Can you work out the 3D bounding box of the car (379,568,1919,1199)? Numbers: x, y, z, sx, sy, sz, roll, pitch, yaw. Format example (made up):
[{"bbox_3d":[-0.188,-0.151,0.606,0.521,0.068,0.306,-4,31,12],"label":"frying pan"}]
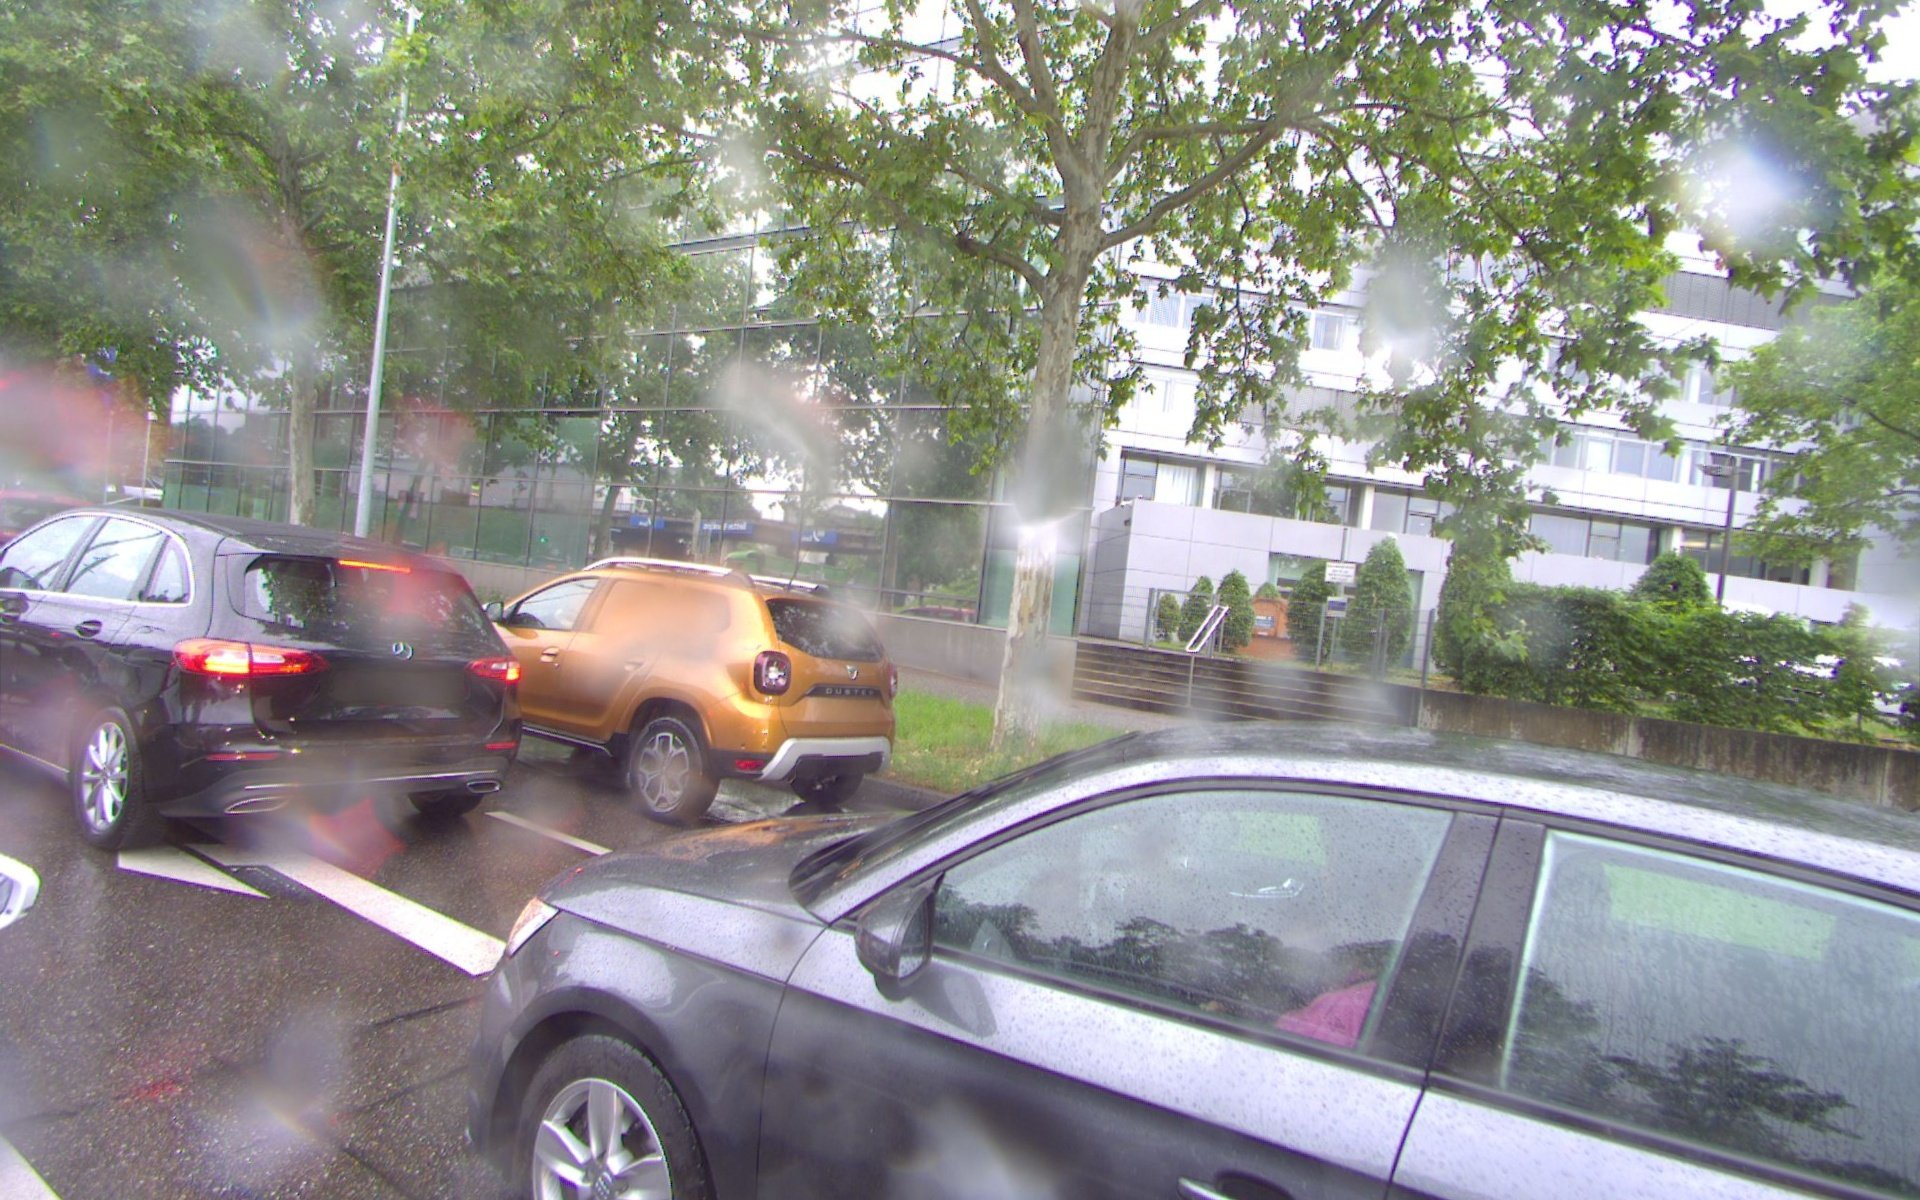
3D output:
[{"bbox_3d":[0.736,0.904,2.080,3.718,1.445,1.679,7,-1,31],"label":"car"}]

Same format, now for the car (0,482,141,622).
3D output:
[{"bbox_3d":[-14.071,-0.809,14.796,4.201,1.714,1.714,6,-2,32],"label":"car"}]

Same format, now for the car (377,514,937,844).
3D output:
[{"bbox_3d":[-2.432,0.473,7.757,4.079,1.704,1.679,8,-2,32],"label":"car"}]

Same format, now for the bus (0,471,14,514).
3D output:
[{"bbox_3d":[-84.568,-9.584,81.000,2.438,3.465,12.002,7,0,24],"label":"bus"}]

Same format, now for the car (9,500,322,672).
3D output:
[{"bbox_3d":[-8.992,-0.173,11.354,3.332,1.480,1.572,7,-1,31],"label":"car"}]

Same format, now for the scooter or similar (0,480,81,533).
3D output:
[{"bbox_3d":[-54.526,-5.525,58.146,5.228,2.476,1.893,7,0,-9],"label":"scooter or similar"}]

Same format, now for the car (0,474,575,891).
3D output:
[{"bbox_3d":[-4.342,0.243,5.759,4.022,1.573,1.751,7,-1,31],"label":"car"}]
